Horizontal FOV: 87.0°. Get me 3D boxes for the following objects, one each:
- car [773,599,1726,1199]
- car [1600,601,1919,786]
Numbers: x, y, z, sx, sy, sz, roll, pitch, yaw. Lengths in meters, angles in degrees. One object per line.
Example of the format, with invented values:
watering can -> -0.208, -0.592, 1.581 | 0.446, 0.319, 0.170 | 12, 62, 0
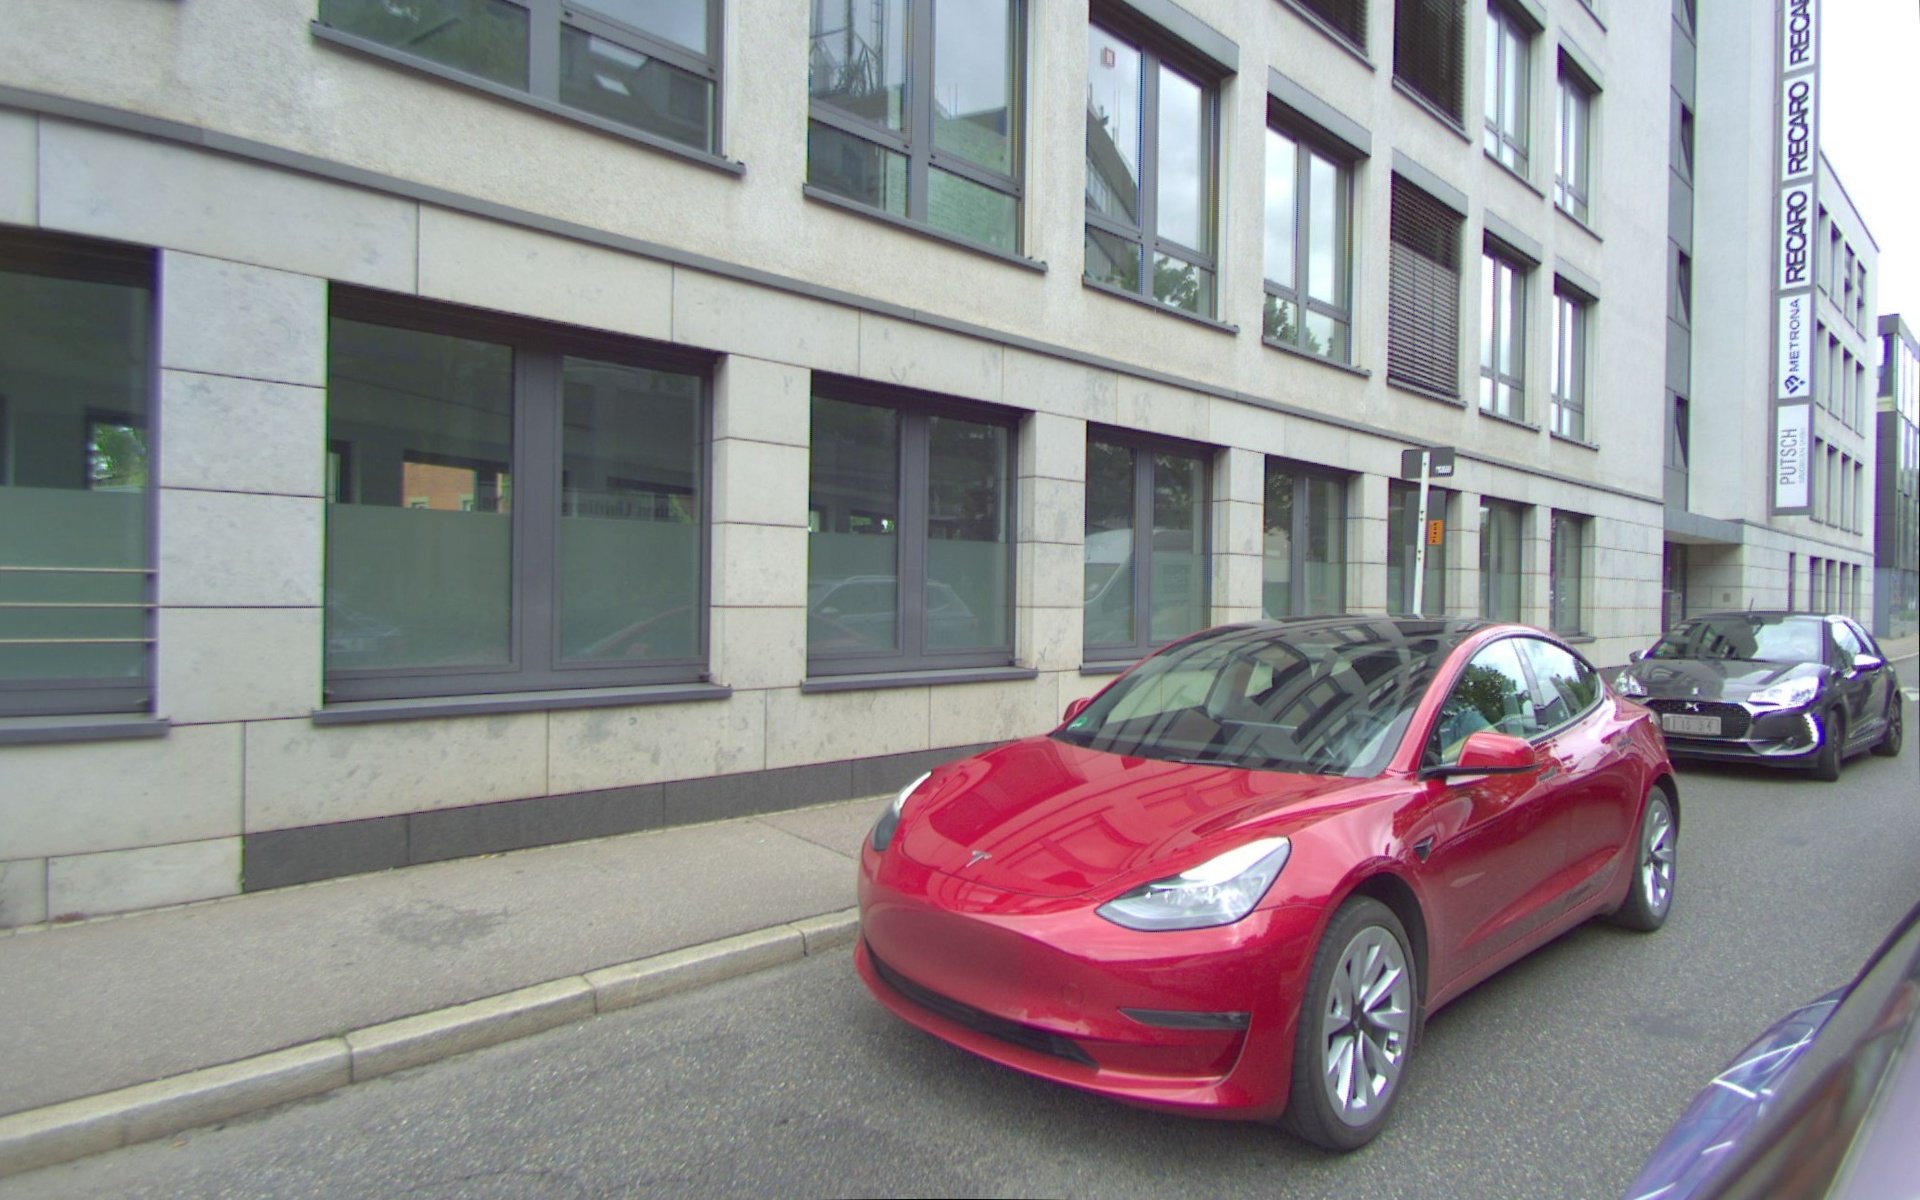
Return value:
car -> 1.584, 0.727, 4.292 | 4.366, 1.436, 1.875 | 0, -1, -42
car -> 8.104, 0.764, 10.030 | 3.987, 1.479, 1.705 | 0, -1, -38
